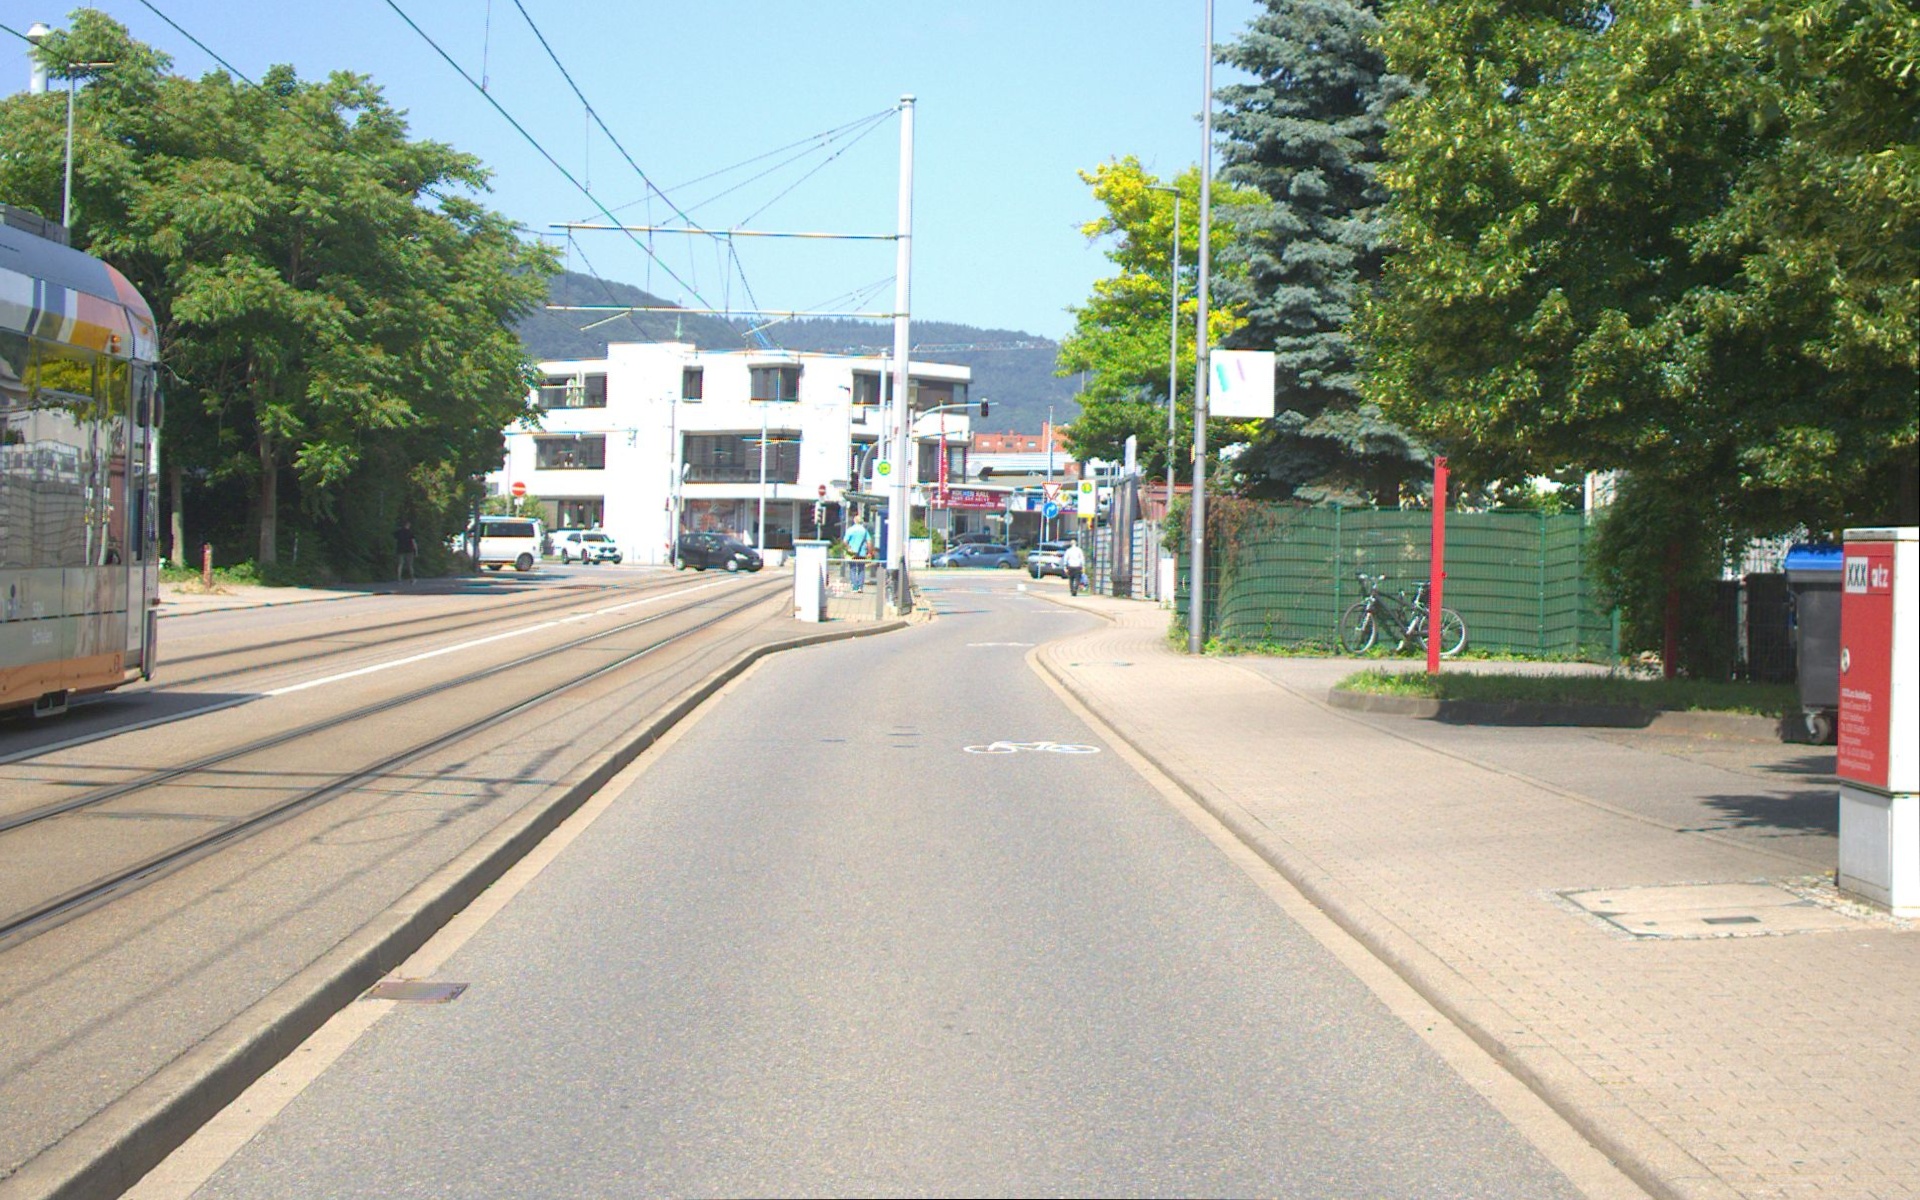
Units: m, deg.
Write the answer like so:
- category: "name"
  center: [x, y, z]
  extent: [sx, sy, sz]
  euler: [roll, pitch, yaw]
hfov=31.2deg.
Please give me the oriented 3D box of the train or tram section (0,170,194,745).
- category: "train or tram section"
  center: [-7.095, -0.905, 23.009]
  extent: [2.580, 3.435, 6.363]
  euler: [1, 1, -1]

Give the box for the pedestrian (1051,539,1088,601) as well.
- category: "pedestrian"
  center: [3.219, -0.887, 101.142]
  extent: [0.940, 1.781, 0.953]
  euler: [2, 2, -2]

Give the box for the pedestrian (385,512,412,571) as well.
- category: "pedestrian"
  center: [-14.736, -1.530, 90.193]
  extent: [0.584, 1.532, 0.657]
  euler: [1, 1, -1]

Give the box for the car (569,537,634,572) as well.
- category: "car"
  center: [-17.462, -2.226, 167.255]
  extent: [1.756, 1.642, 3.762]
  euler: [1, 1, -29]

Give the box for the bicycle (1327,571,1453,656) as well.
- category: "bicycle"
  center: [5.263, 0.168, 42.084]
  extent: [1.471, 0.987, 0.388]
  euler: [1, -2, -1]

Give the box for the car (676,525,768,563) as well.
- category: "car"
  center: [-9.735, -2.296, 140.389]
  extent: [3.535, 1.329, 1.674]
  euler: [5, 3, 42]

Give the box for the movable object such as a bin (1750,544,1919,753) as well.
- category: "movable object such as a bin"
  center: [6.445, 0.350, 24.480]
  extent: [1.386, 1.425, 0.989]
  euler: [2, -1, 24]

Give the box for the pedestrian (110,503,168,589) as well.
- category: "pedestrian"
  center: [-14.767, -0.973, 61.838]
  extent: [0.834, 1.532, 0.838]
  euler: [1, 1, -1]

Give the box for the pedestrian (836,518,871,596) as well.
- category: "pedestrian"
  center: [-2.419, -0.979, 77.951]
  extent: [0.743, 1.734, 0.727]
  euler: [1, 1, -1]

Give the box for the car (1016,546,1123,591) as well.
- category: "car"
  center: [4.556, -1.312, 143.066]
  extent: [3.986, 1.744, 1.776]
  euler: [2, 1, -21]

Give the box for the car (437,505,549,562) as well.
- category: "car"
  center: [-17.045, -2.419, 125.650]
  extent: [1.863, 1.930, 3.993]
  euler: [5, 2, 32]
